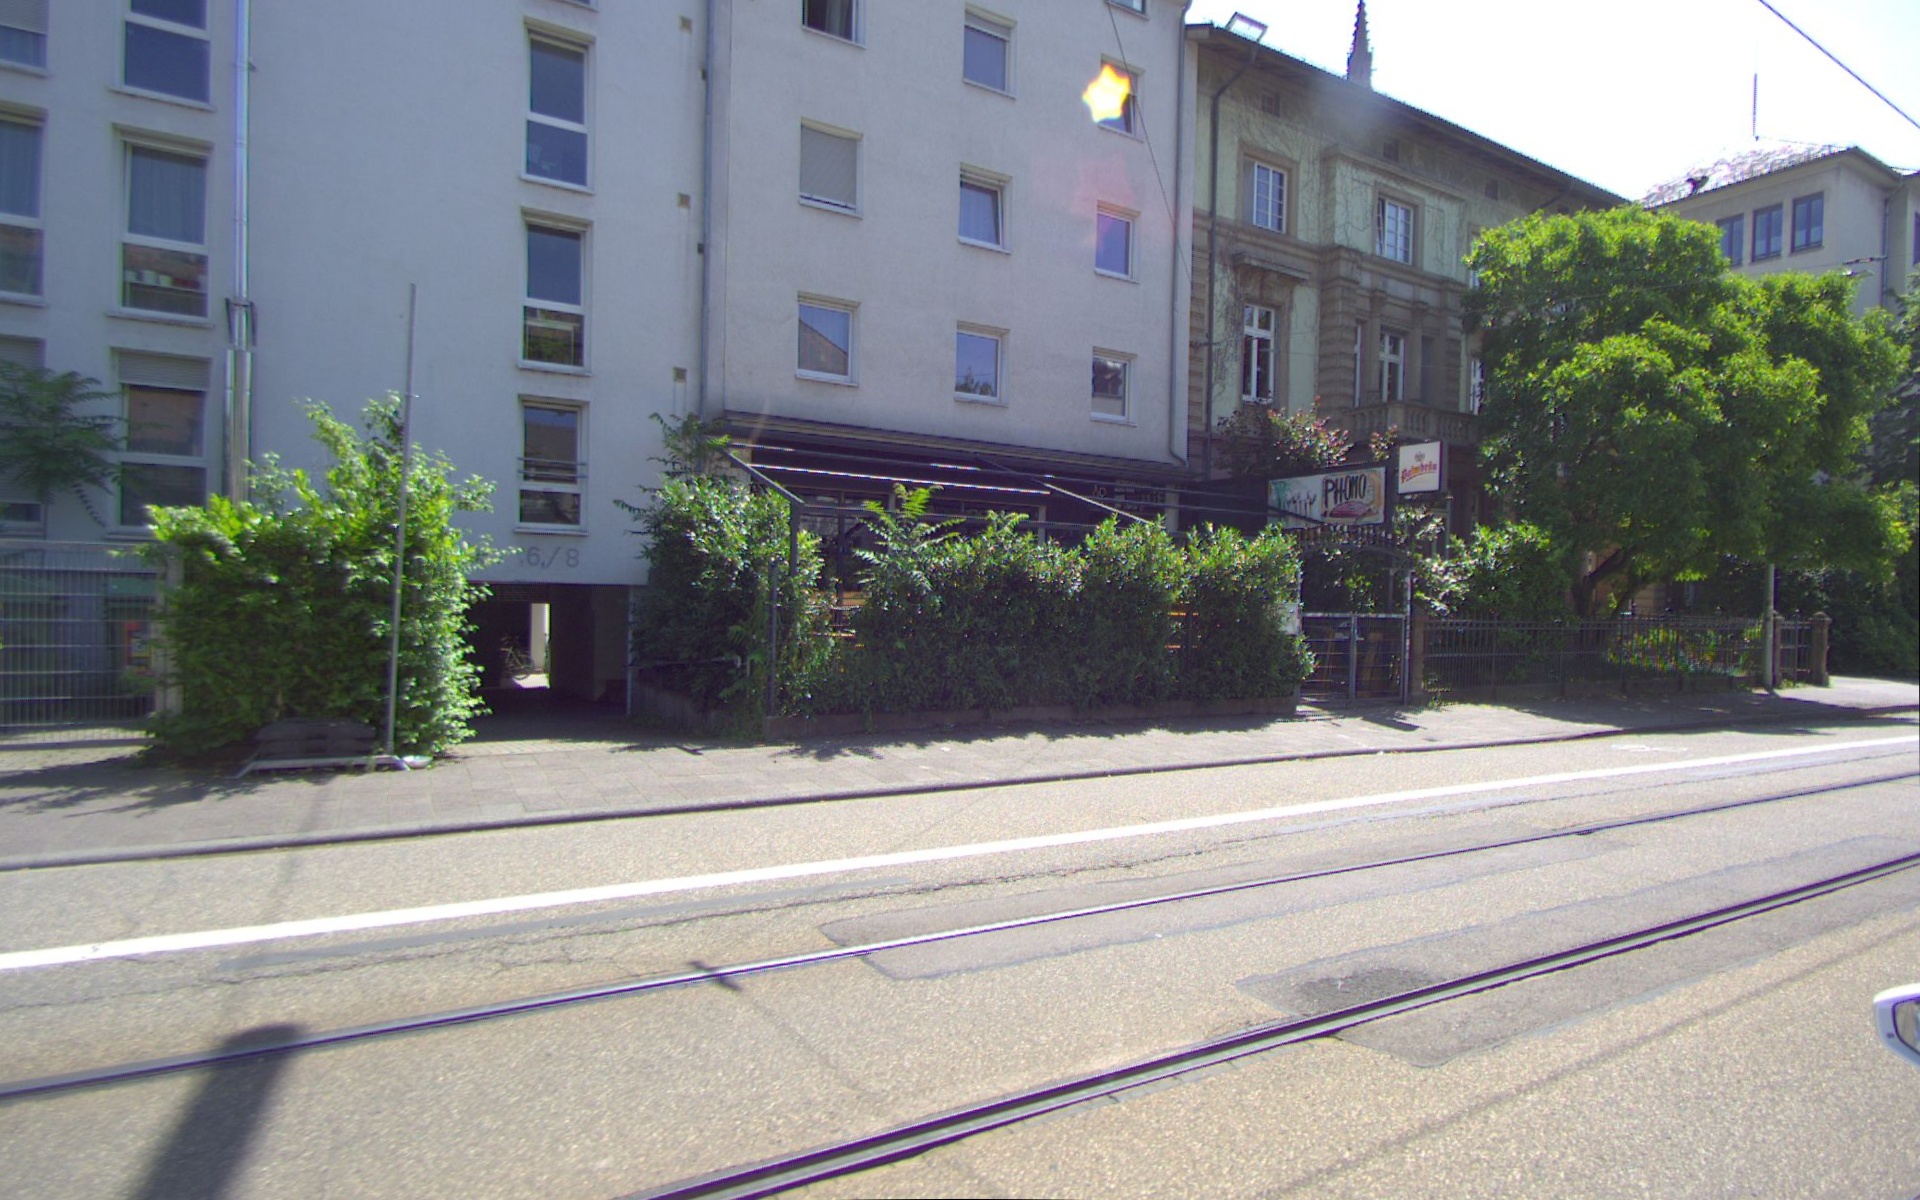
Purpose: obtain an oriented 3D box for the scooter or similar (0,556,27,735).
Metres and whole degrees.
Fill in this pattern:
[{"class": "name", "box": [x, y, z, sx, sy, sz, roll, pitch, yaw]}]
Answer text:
[{"class": "scooter or similar", "box": [-8.135, 0.367, 8.132, 0.590, 1.470, 1.004, 2, 1, -30]}]
